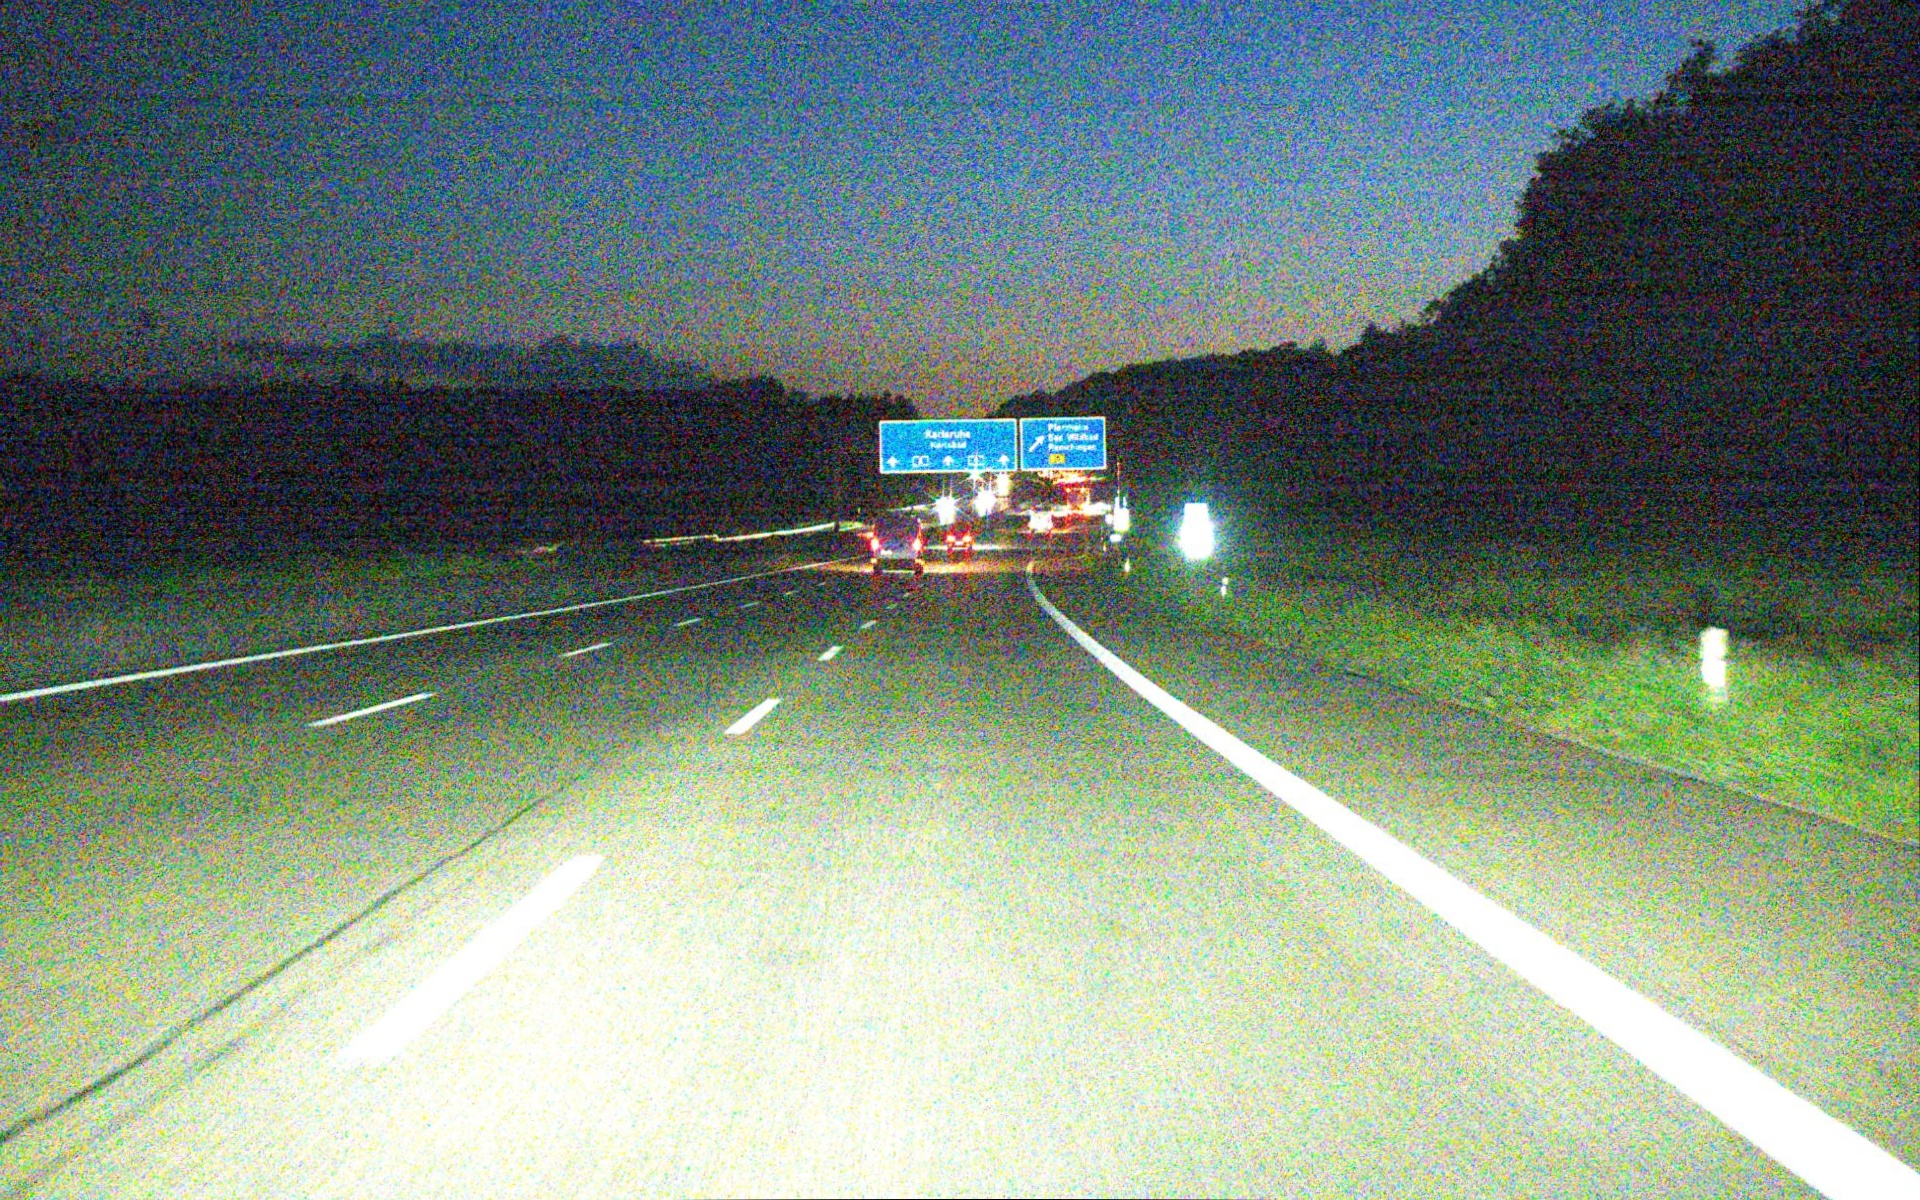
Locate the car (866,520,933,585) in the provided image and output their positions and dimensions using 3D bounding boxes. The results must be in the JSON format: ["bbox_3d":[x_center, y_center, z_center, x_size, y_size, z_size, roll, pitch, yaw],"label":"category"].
[{"bbox_3d":[-2.596,-2.021,149.097,2.786,2.724,6.299,0,0,0],"label":"car"}]

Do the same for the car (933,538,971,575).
[{"bbox_3d":[-0.631,-3.309,261.688,2.786,2.724,6.299,0,0,-1],"label":"car"}]
